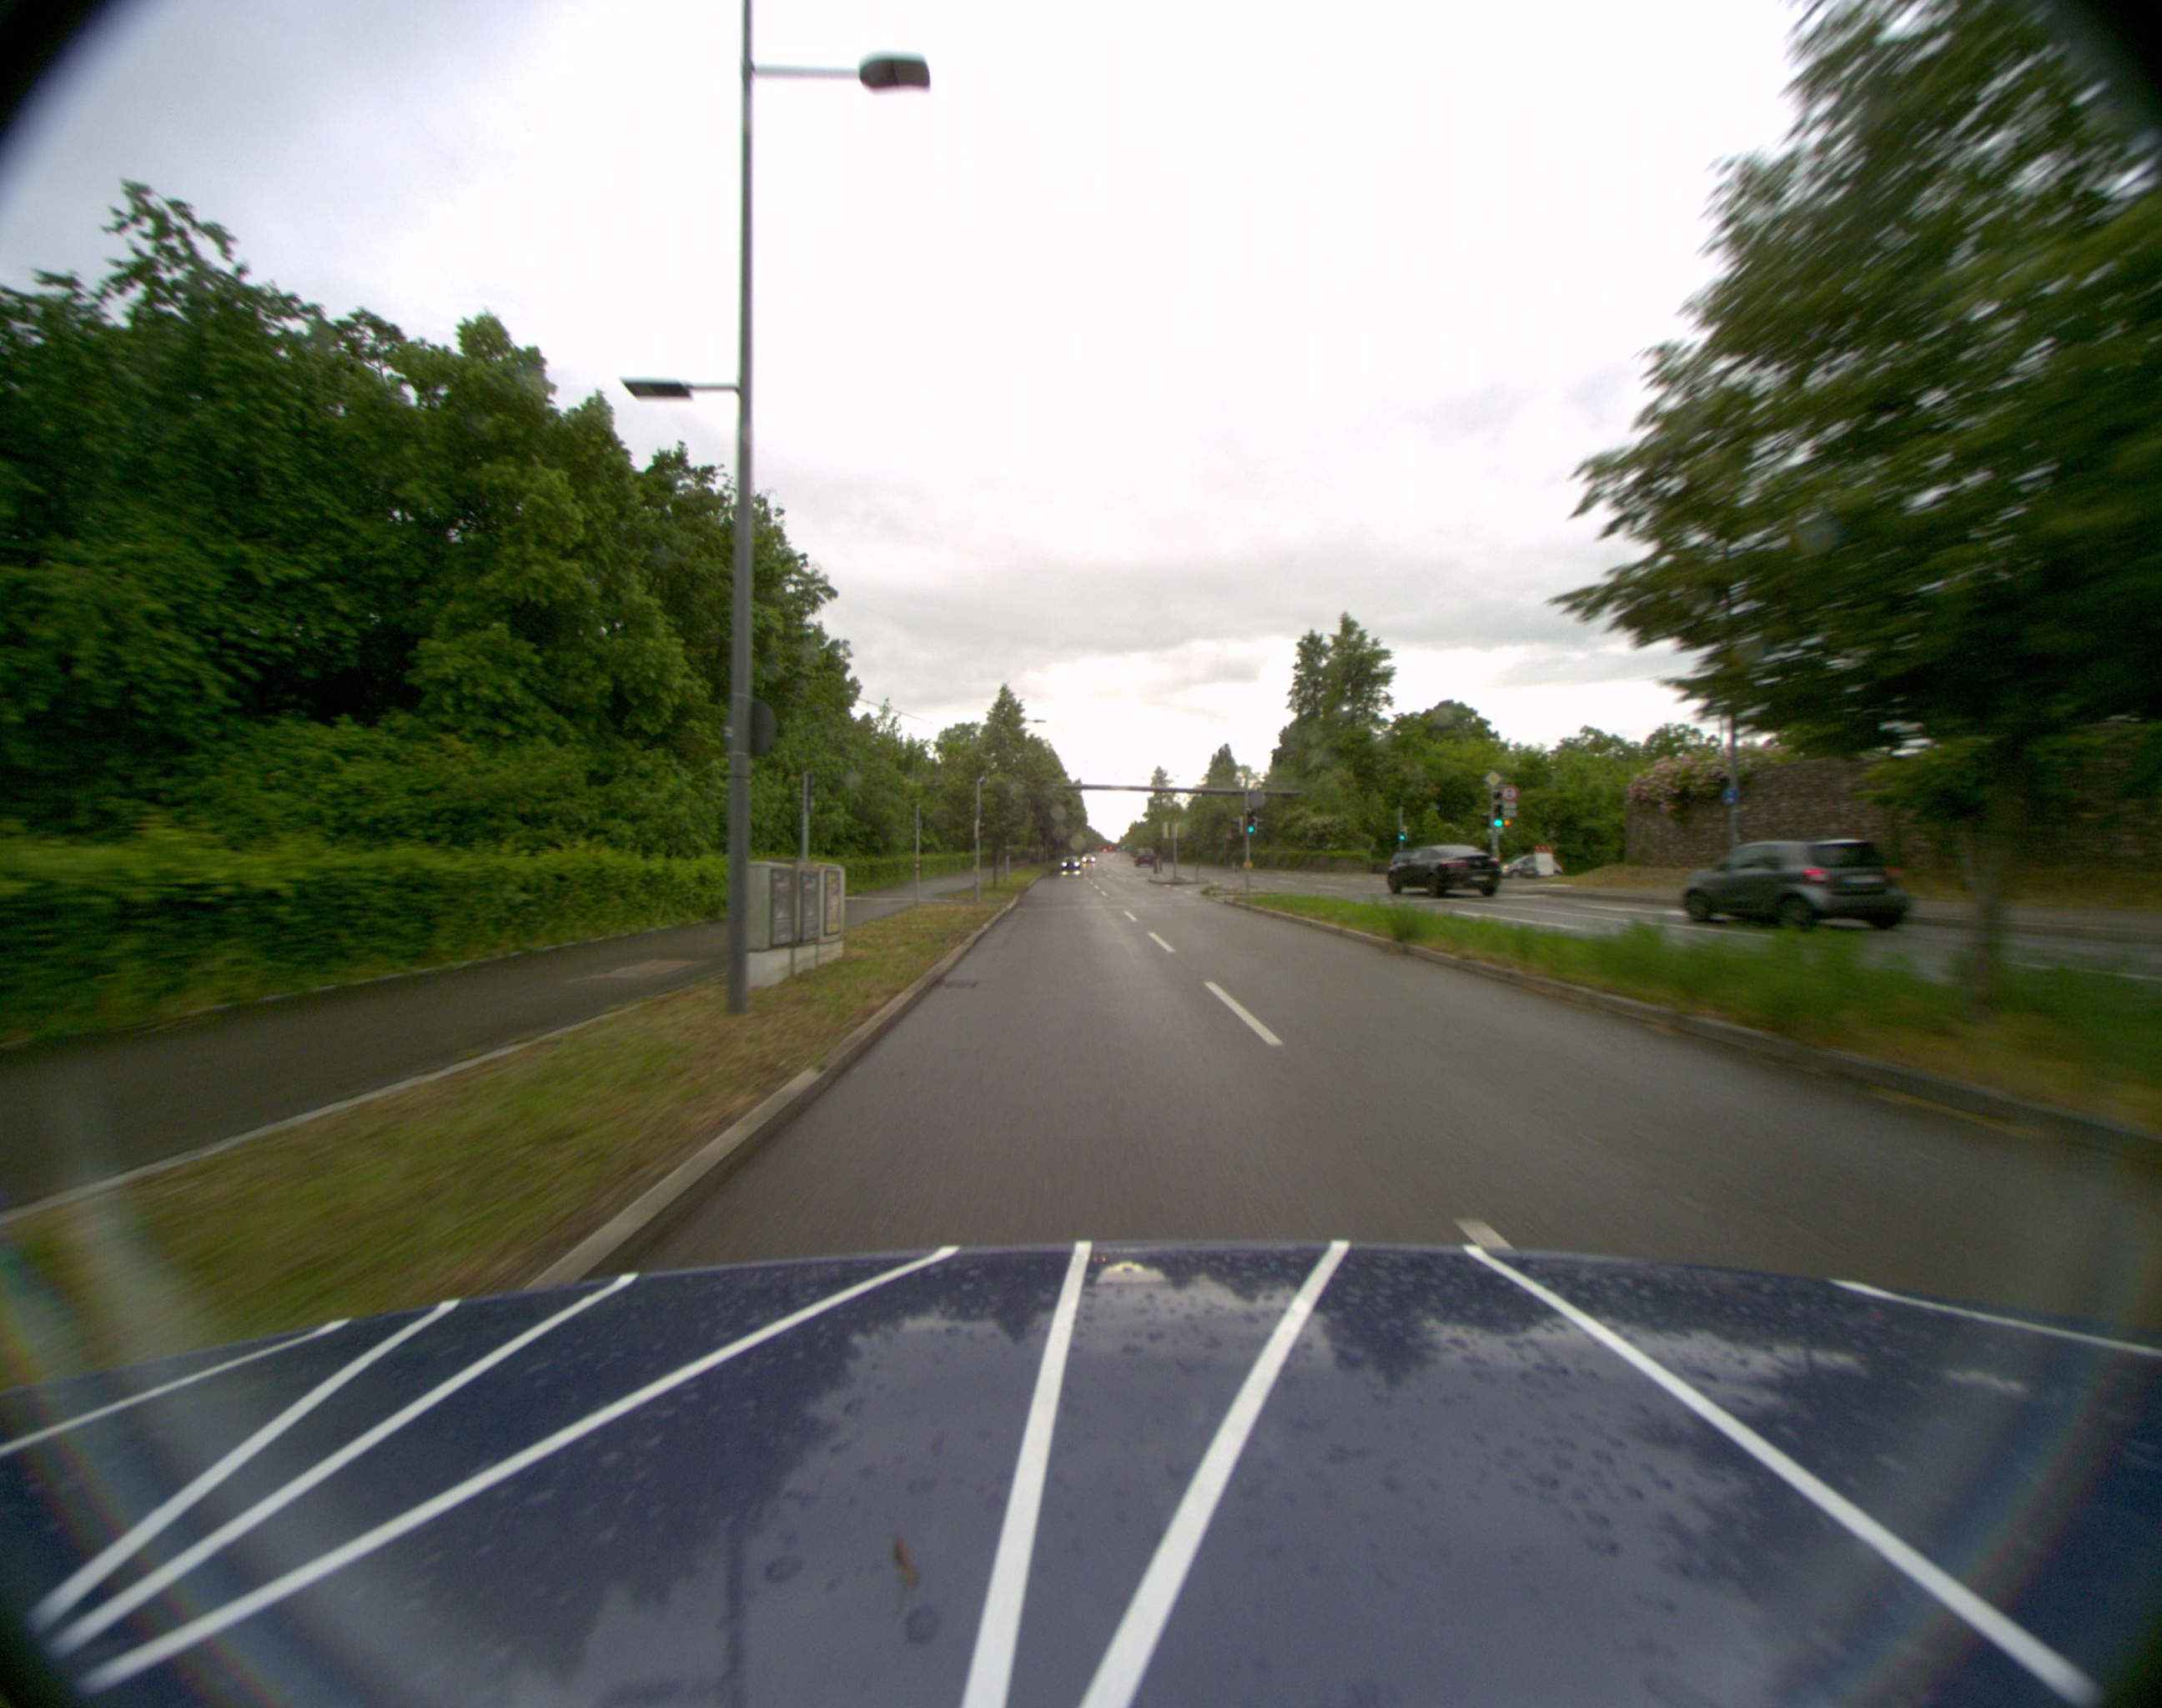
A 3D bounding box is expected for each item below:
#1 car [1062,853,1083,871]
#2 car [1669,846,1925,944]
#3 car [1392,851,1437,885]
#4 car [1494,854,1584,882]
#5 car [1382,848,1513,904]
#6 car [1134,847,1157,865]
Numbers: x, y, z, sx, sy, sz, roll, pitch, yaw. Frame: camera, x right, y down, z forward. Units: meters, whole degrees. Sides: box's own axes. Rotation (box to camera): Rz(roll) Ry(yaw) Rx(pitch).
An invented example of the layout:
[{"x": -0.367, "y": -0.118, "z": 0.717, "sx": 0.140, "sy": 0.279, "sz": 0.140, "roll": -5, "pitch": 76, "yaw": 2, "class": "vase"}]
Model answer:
[{"x": -0.793, "y": 0.750, "z": 73.420, "sx": 1.824, "sy": 1.547, "sz": 4.000, "roll": -1, "pitch": 1, "yaw": 1, "class": "car"}, {"x": 12.508, "y": 0.671, "z": 13.520, "sx": 1.691, "sy": 1.530, "sz": 2.915, "roll": -1, "pitch": -1, "yaw": -6, "class": "car"}, {"x": 15.436, "y": 0.595, "z": 35.057, "sx": 1.599, "sy": 1.480, "sz": 4.007, "roll": -1, "pitch": 0, "yaw": 28, "class": "car"}, {"x": 25.518, "y": 0.785, "z": 42.445, "sx": 3.995, "sy": 1.464, "sz": 1.693, "roll": 1, "pitch": -2, "yaw": 4, "class": "car"}, {"x": 11.614, "y": 0.631, "z": 24.515, "sx": 1.886, "sy": 1.586, "sz": 4.766, "roll": -2, "pitch": 0, "yaw": 0, "class": "car"}, {"x": 7.173, "y": 0.203, "z": 84.650, "sx": 2.019, "sy": 1.908, "sz": 5.094, "roll": -1, "pitch": 0, "yaw": 0, "class": "car"}]
